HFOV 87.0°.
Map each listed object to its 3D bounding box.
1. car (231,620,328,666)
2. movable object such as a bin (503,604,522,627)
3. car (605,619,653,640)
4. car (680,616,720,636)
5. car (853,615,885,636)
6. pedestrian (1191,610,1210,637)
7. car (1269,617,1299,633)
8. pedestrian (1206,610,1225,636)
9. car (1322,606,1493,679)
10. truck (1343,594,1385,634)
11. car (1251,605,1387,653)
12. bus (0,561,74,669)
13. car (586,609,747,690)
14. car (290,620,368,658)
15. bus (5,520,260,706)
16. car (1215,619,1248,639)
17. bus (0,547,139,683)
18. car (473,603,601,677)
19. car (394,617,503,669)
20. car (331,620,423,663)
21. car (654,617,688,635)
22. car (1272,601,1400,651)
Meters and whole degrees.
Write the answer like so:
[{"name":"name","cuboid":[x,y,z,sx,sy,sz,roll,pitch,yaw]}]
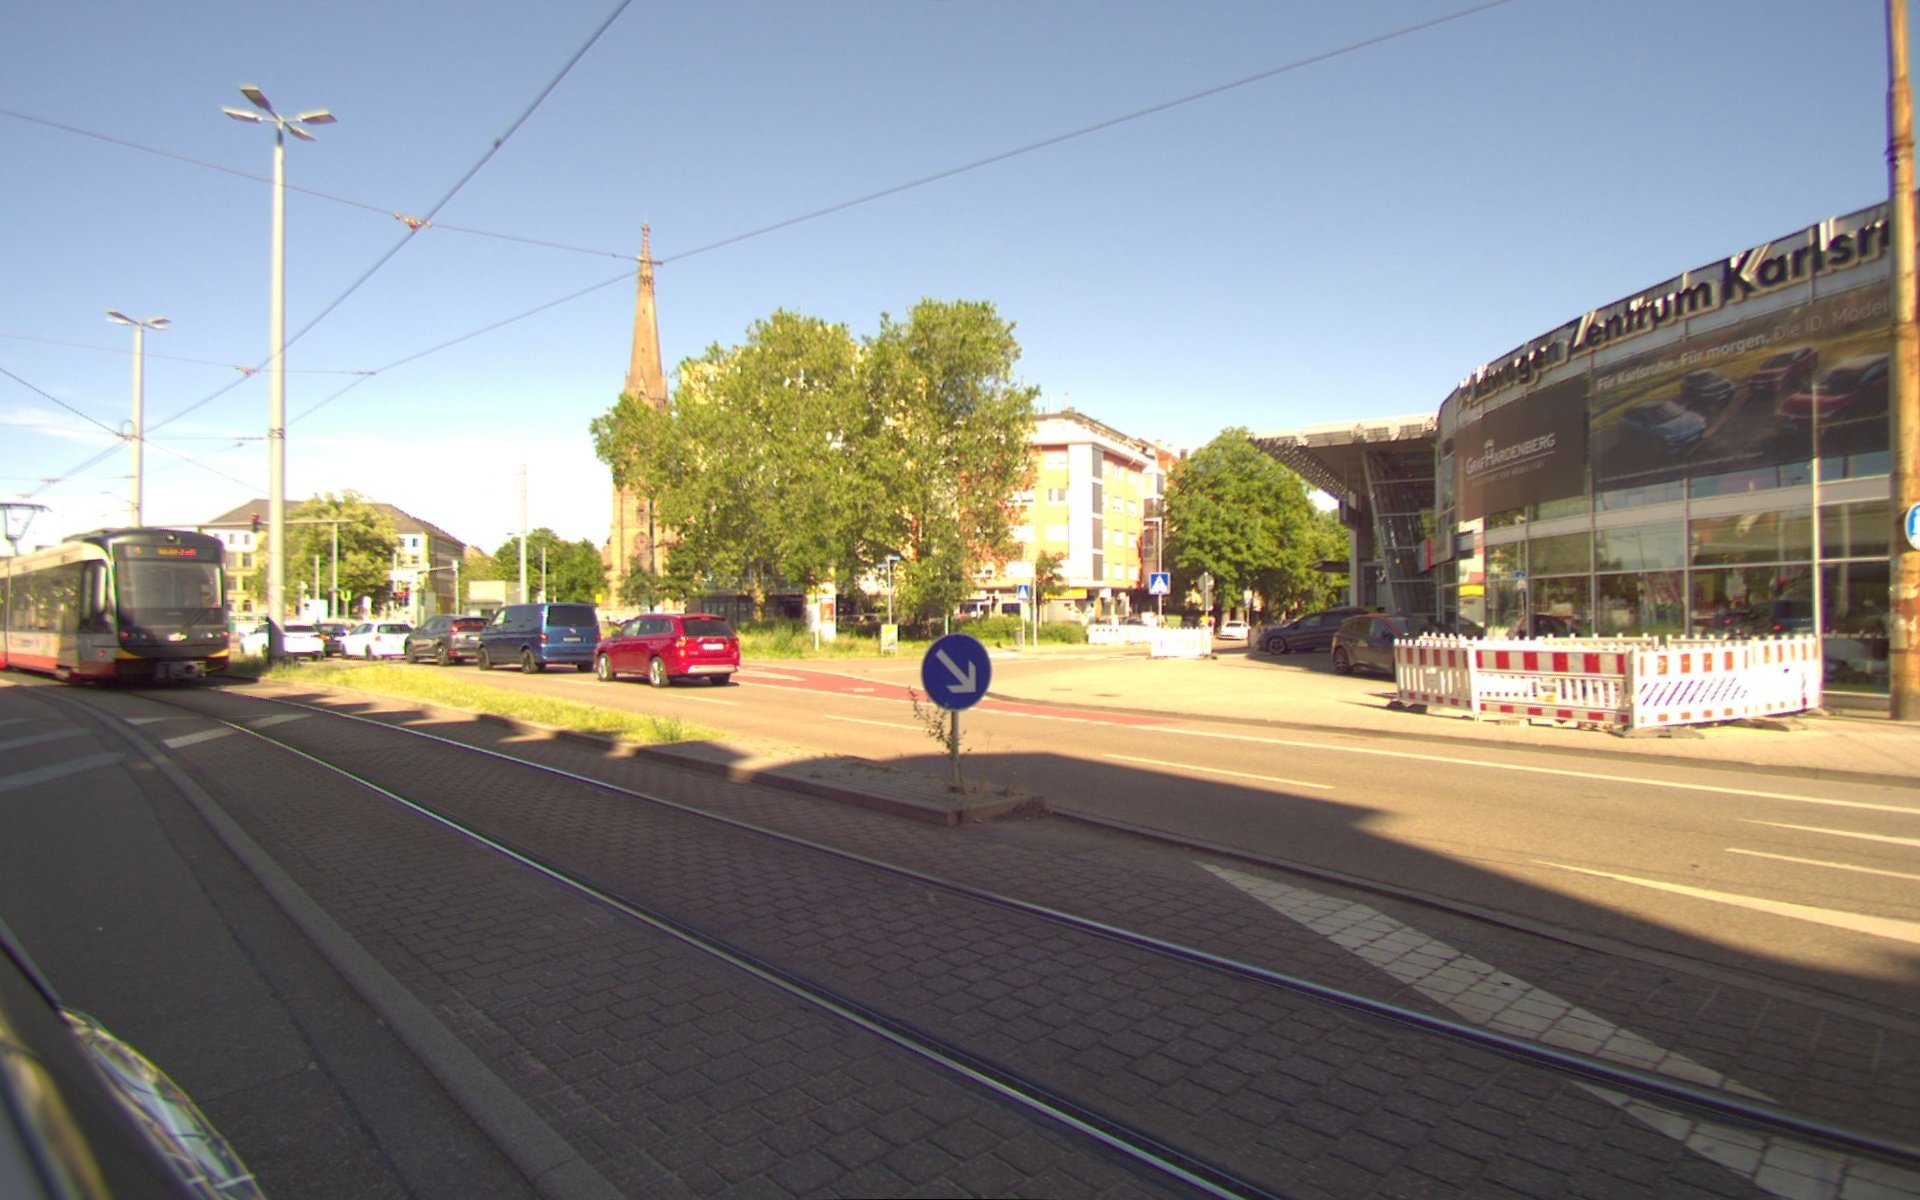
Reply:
[{"name":"car","cuboid":[-24.583,1.508,36.514,4.538,1.443,1.784,-1,1,41]},{"name":"movable object such as a bin","cuboid":[-33.459,1.179,75.629,0.926,1.646,0.989,-1,1,7]},{"name":"car","cuboid":[-31.547,2.789,96.433,3.932,1.765,2.006,-2,1,-31]},{"name":"car","cuboid":[-20.983,2.082,81.837,1.723,1.510,3.988,-1,-1,9]},{"name":"car","cuboid":[-7.076,1.973,78.852,1.973,1.510,3.997,-1,-1,2]},{"name":"pedestrian","cuboid":[18.997,1.856,80.018,1.161,2.029,1.109,-1,1,-1]},{"name":"car","cuboid":[30.348,2.308,94.818,1.991,1.345,3.963,-1,1,28]},{"name":"pedestrian","cuboid":[20.291,1.801,80.453,1.161,2.029,1.109,-1,1,-1]},{"name":"car","cuboid":[10.534,0.976,24.171,1.730,1.548,4.008,-1,-1,-10]},{"name":"truck","cuboid":[24.423,0.828,61.098,1.989,2.237,4.179,-1,1,26]},{"name":"car","cuboid":[12.605,1.027,35.643,4.188,1.411,1.740,-5,-3,31]},{"name":"bus","cuboid":[-37.109,0.609,38.706,13.483,3.617,2.812,-1,-1,40]},{"name":"car","cuboid":[-6.982,1.079,23.800,1.778,1.732,4.420,1,-1,-44]},{"name":"car","cuboid":[-26.073,1.589,41.789,3.969,1.490,1.632,-1,-2,41]},{"name":"bus","cuboid":[-20.314,0.336,24.445,11.263,3.617,2.812,-1,-1,41]},{"name":"car","cuboid":[20.835,2.181,77.632,1.986,1.345,3.971,-1,1,22]},{"name":"bus","cuboid":[-28.661,0.481,31.557,10.718,3.617,2.812,-1,-1,40]},{"name":"car","cuboid":[-12.118,1.082,28.893,4.165,1.948,1.783,-1,-1,43]},{"name":"car","cuboid":[-16.940,1.361,33.455,4.163,1.590,1.784,-1,-1,41]},{"name":"car","cuboid":[-21.990,1.520,38.129,3.998,1.443,1.784,-1,1,41]},{"name":"car","cuboid":[-30.962,2.788,108.484,1.978,1.678,3.987,-1,1,10]},{"name":"car","cuboid":[14.087,0.980,38.008,4.188,1.576,1.740,-5,-3,31]}]
